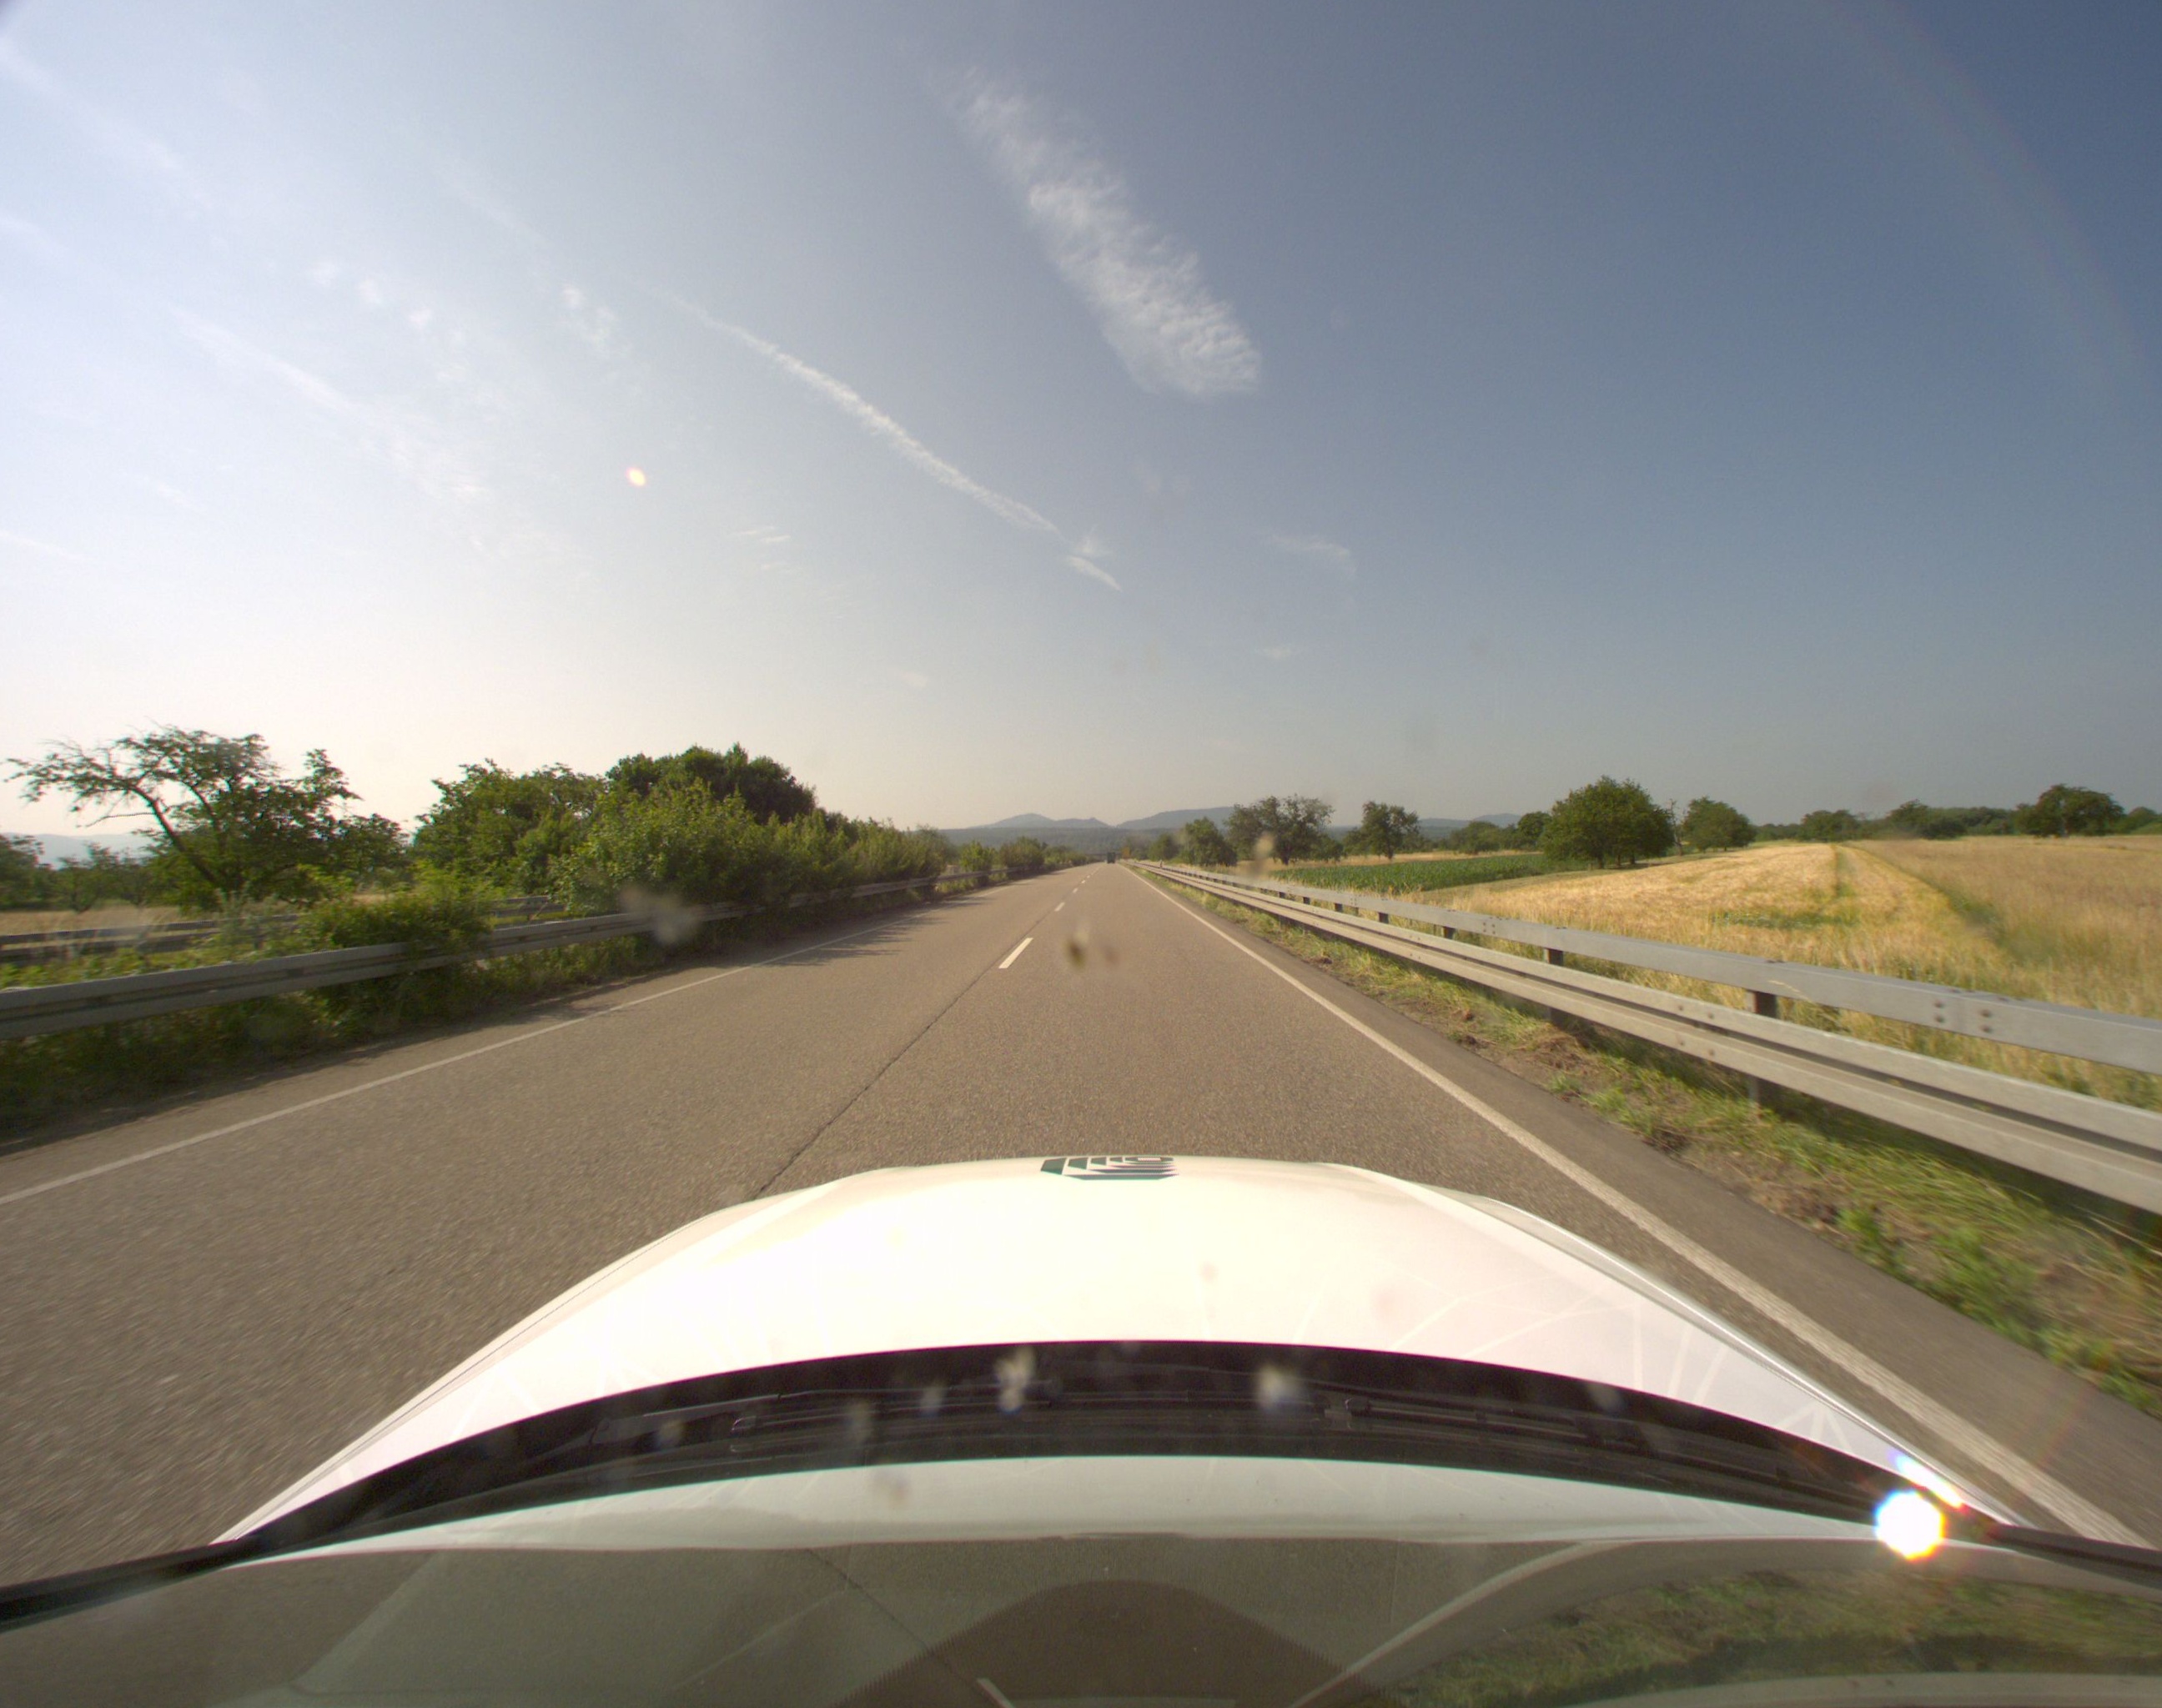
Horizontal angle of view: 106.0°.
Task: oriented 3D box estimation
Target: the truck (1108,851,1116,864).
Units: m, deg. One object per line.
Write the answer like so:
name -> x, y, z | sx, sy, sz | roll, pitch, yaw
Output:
truck -> 10.061, 0.993, 262.499 | 2.711, 3.965, 10.422 | 0, 0, 2
